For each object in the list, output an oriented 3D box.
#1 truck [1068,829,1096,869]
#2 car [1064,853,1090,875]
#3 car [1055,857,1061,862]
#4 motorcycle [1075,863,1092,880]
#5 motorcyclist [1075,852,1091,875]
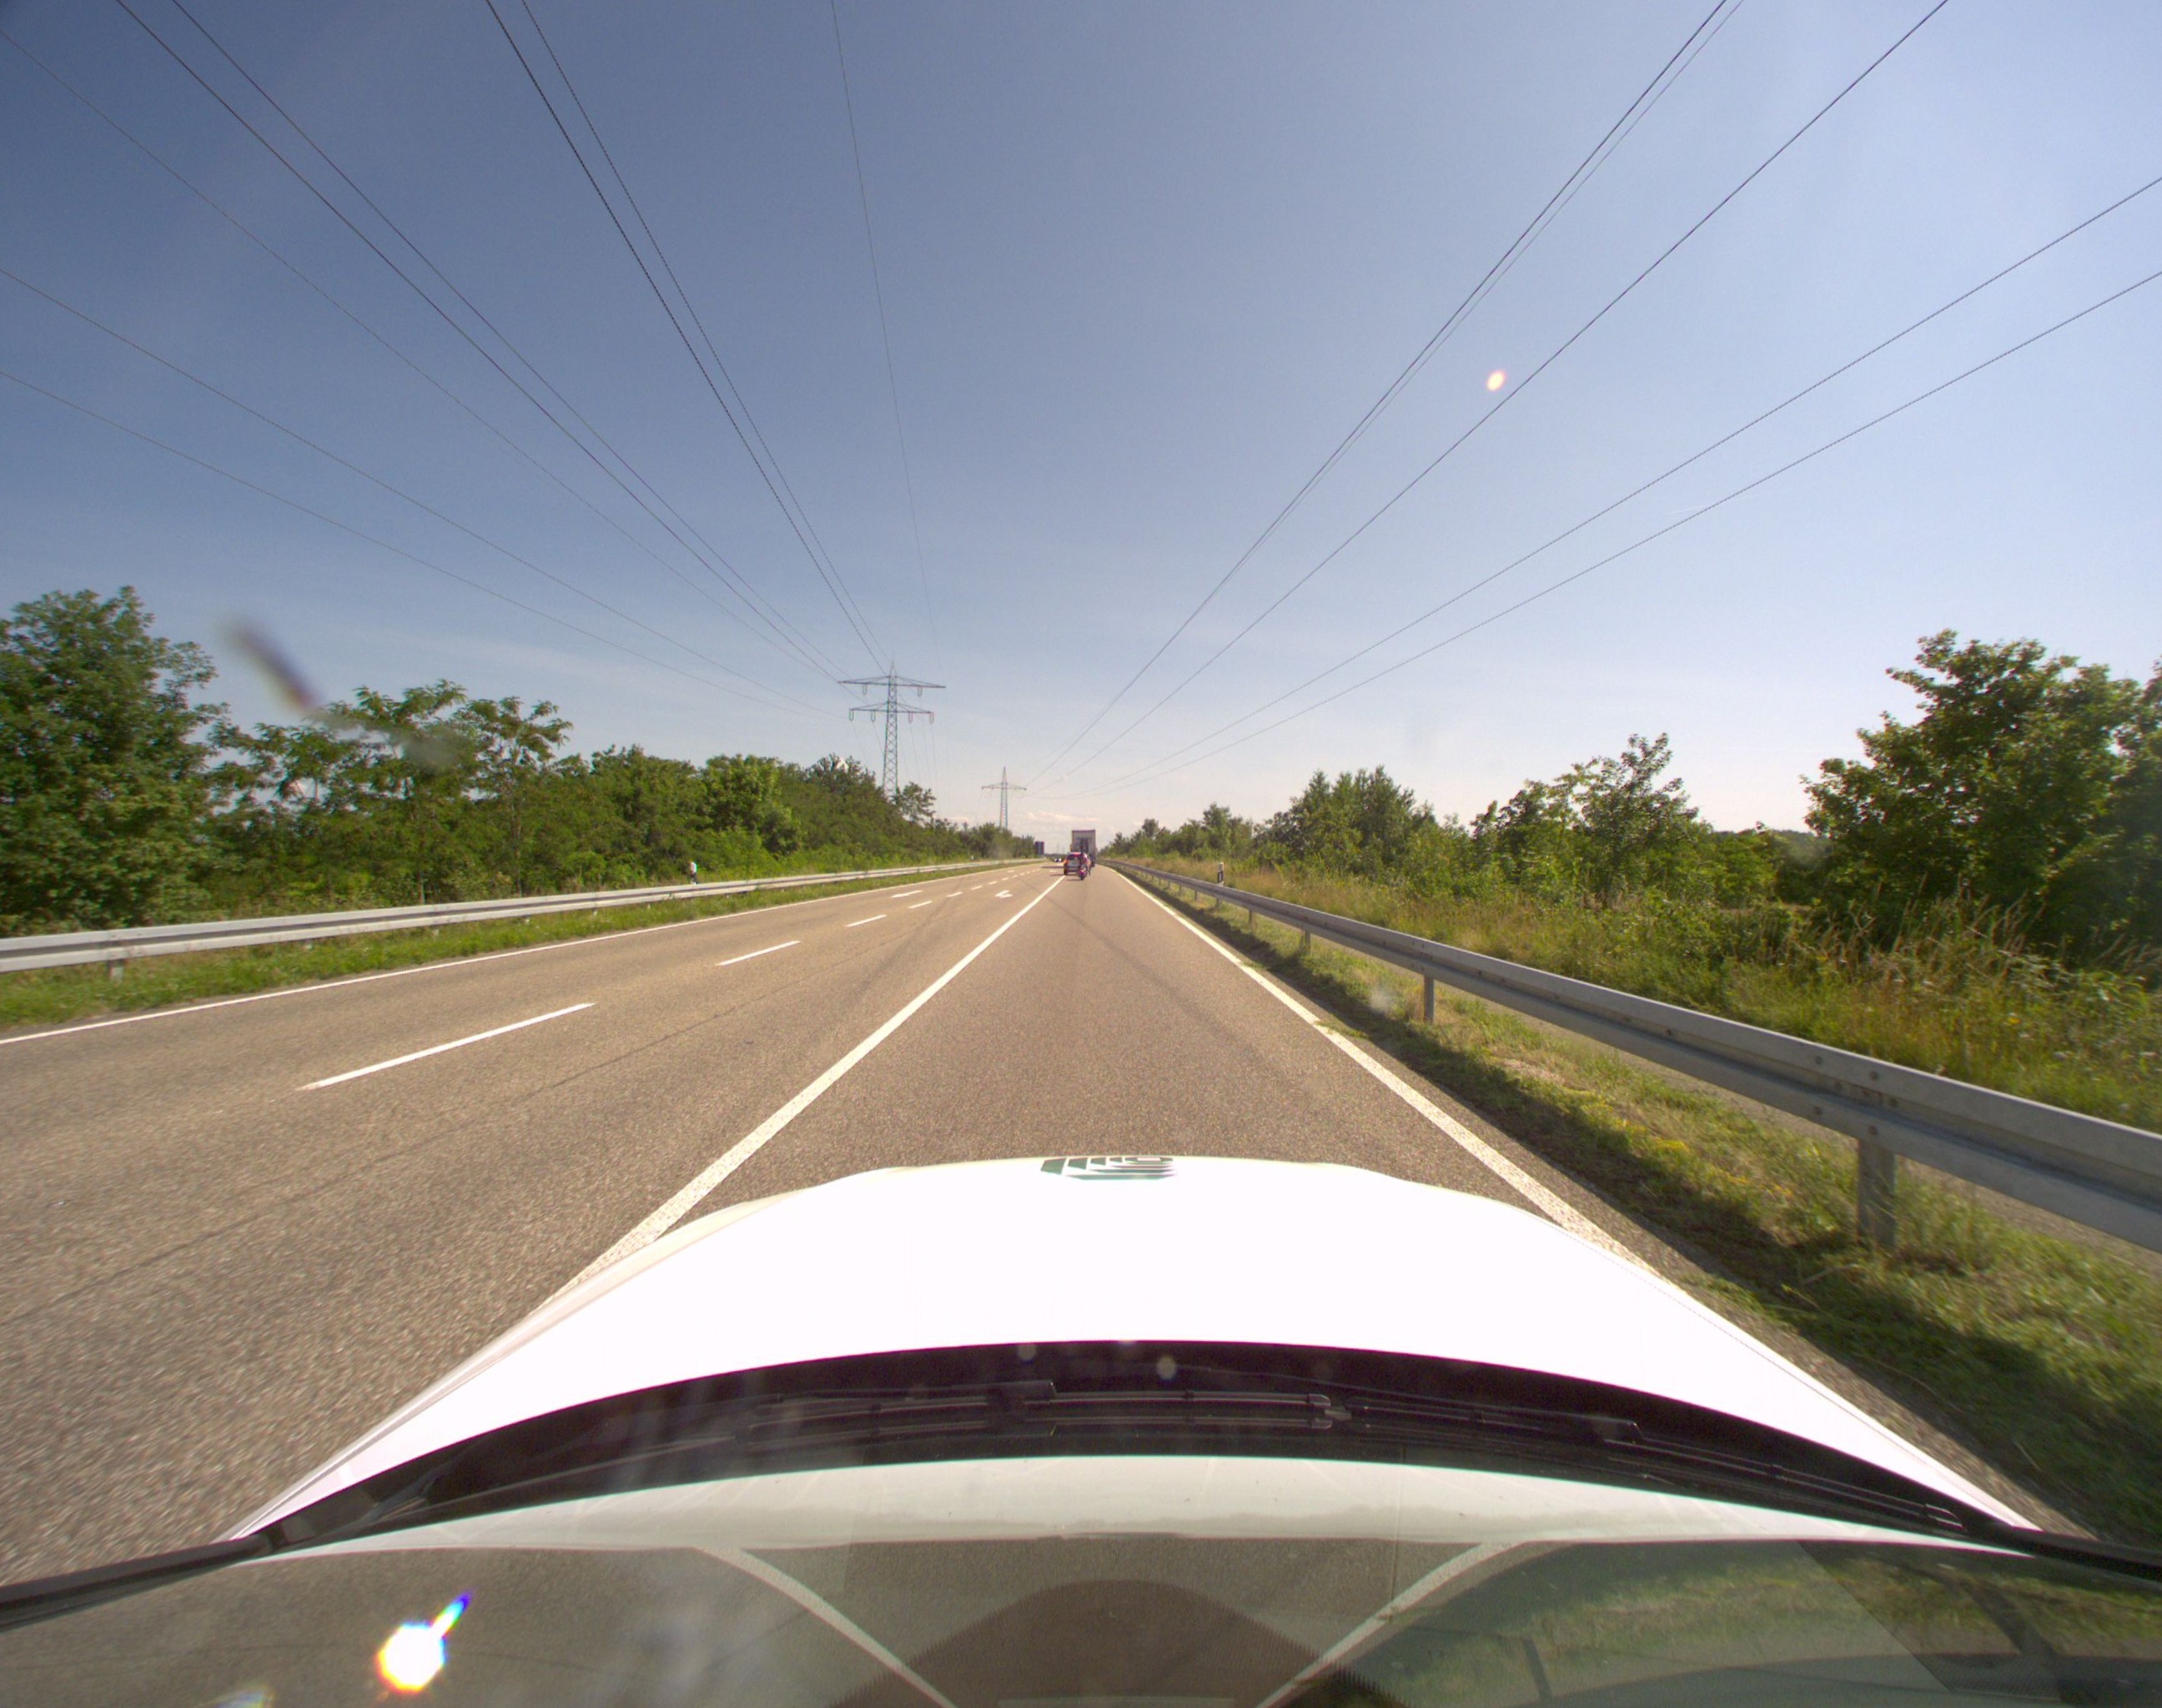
[{"bbox_3d":[0.137,-0.538,94.450,2.958,4.187,14.820,0,0,0],"label":"truck"},{"bbox_3d":[-0.283,0.678,56.852,1.696,1.536,3.498,0,0,-1],"label":"car"},{"bbox_3d":[-6.737,1.711,243.860,1.722,1.491,4.420,0,0,-1],"label":"car"},{"bbox_3d":[0.108,0.986,46.070,0.857,0.915,2.225,0,0,-3],"label":"motorcycle"},{"bbox_3d":[0.104,0.528,46.117,0.835,1.280,0.918,0,0,-3],"label":"motorcyclist"}]
